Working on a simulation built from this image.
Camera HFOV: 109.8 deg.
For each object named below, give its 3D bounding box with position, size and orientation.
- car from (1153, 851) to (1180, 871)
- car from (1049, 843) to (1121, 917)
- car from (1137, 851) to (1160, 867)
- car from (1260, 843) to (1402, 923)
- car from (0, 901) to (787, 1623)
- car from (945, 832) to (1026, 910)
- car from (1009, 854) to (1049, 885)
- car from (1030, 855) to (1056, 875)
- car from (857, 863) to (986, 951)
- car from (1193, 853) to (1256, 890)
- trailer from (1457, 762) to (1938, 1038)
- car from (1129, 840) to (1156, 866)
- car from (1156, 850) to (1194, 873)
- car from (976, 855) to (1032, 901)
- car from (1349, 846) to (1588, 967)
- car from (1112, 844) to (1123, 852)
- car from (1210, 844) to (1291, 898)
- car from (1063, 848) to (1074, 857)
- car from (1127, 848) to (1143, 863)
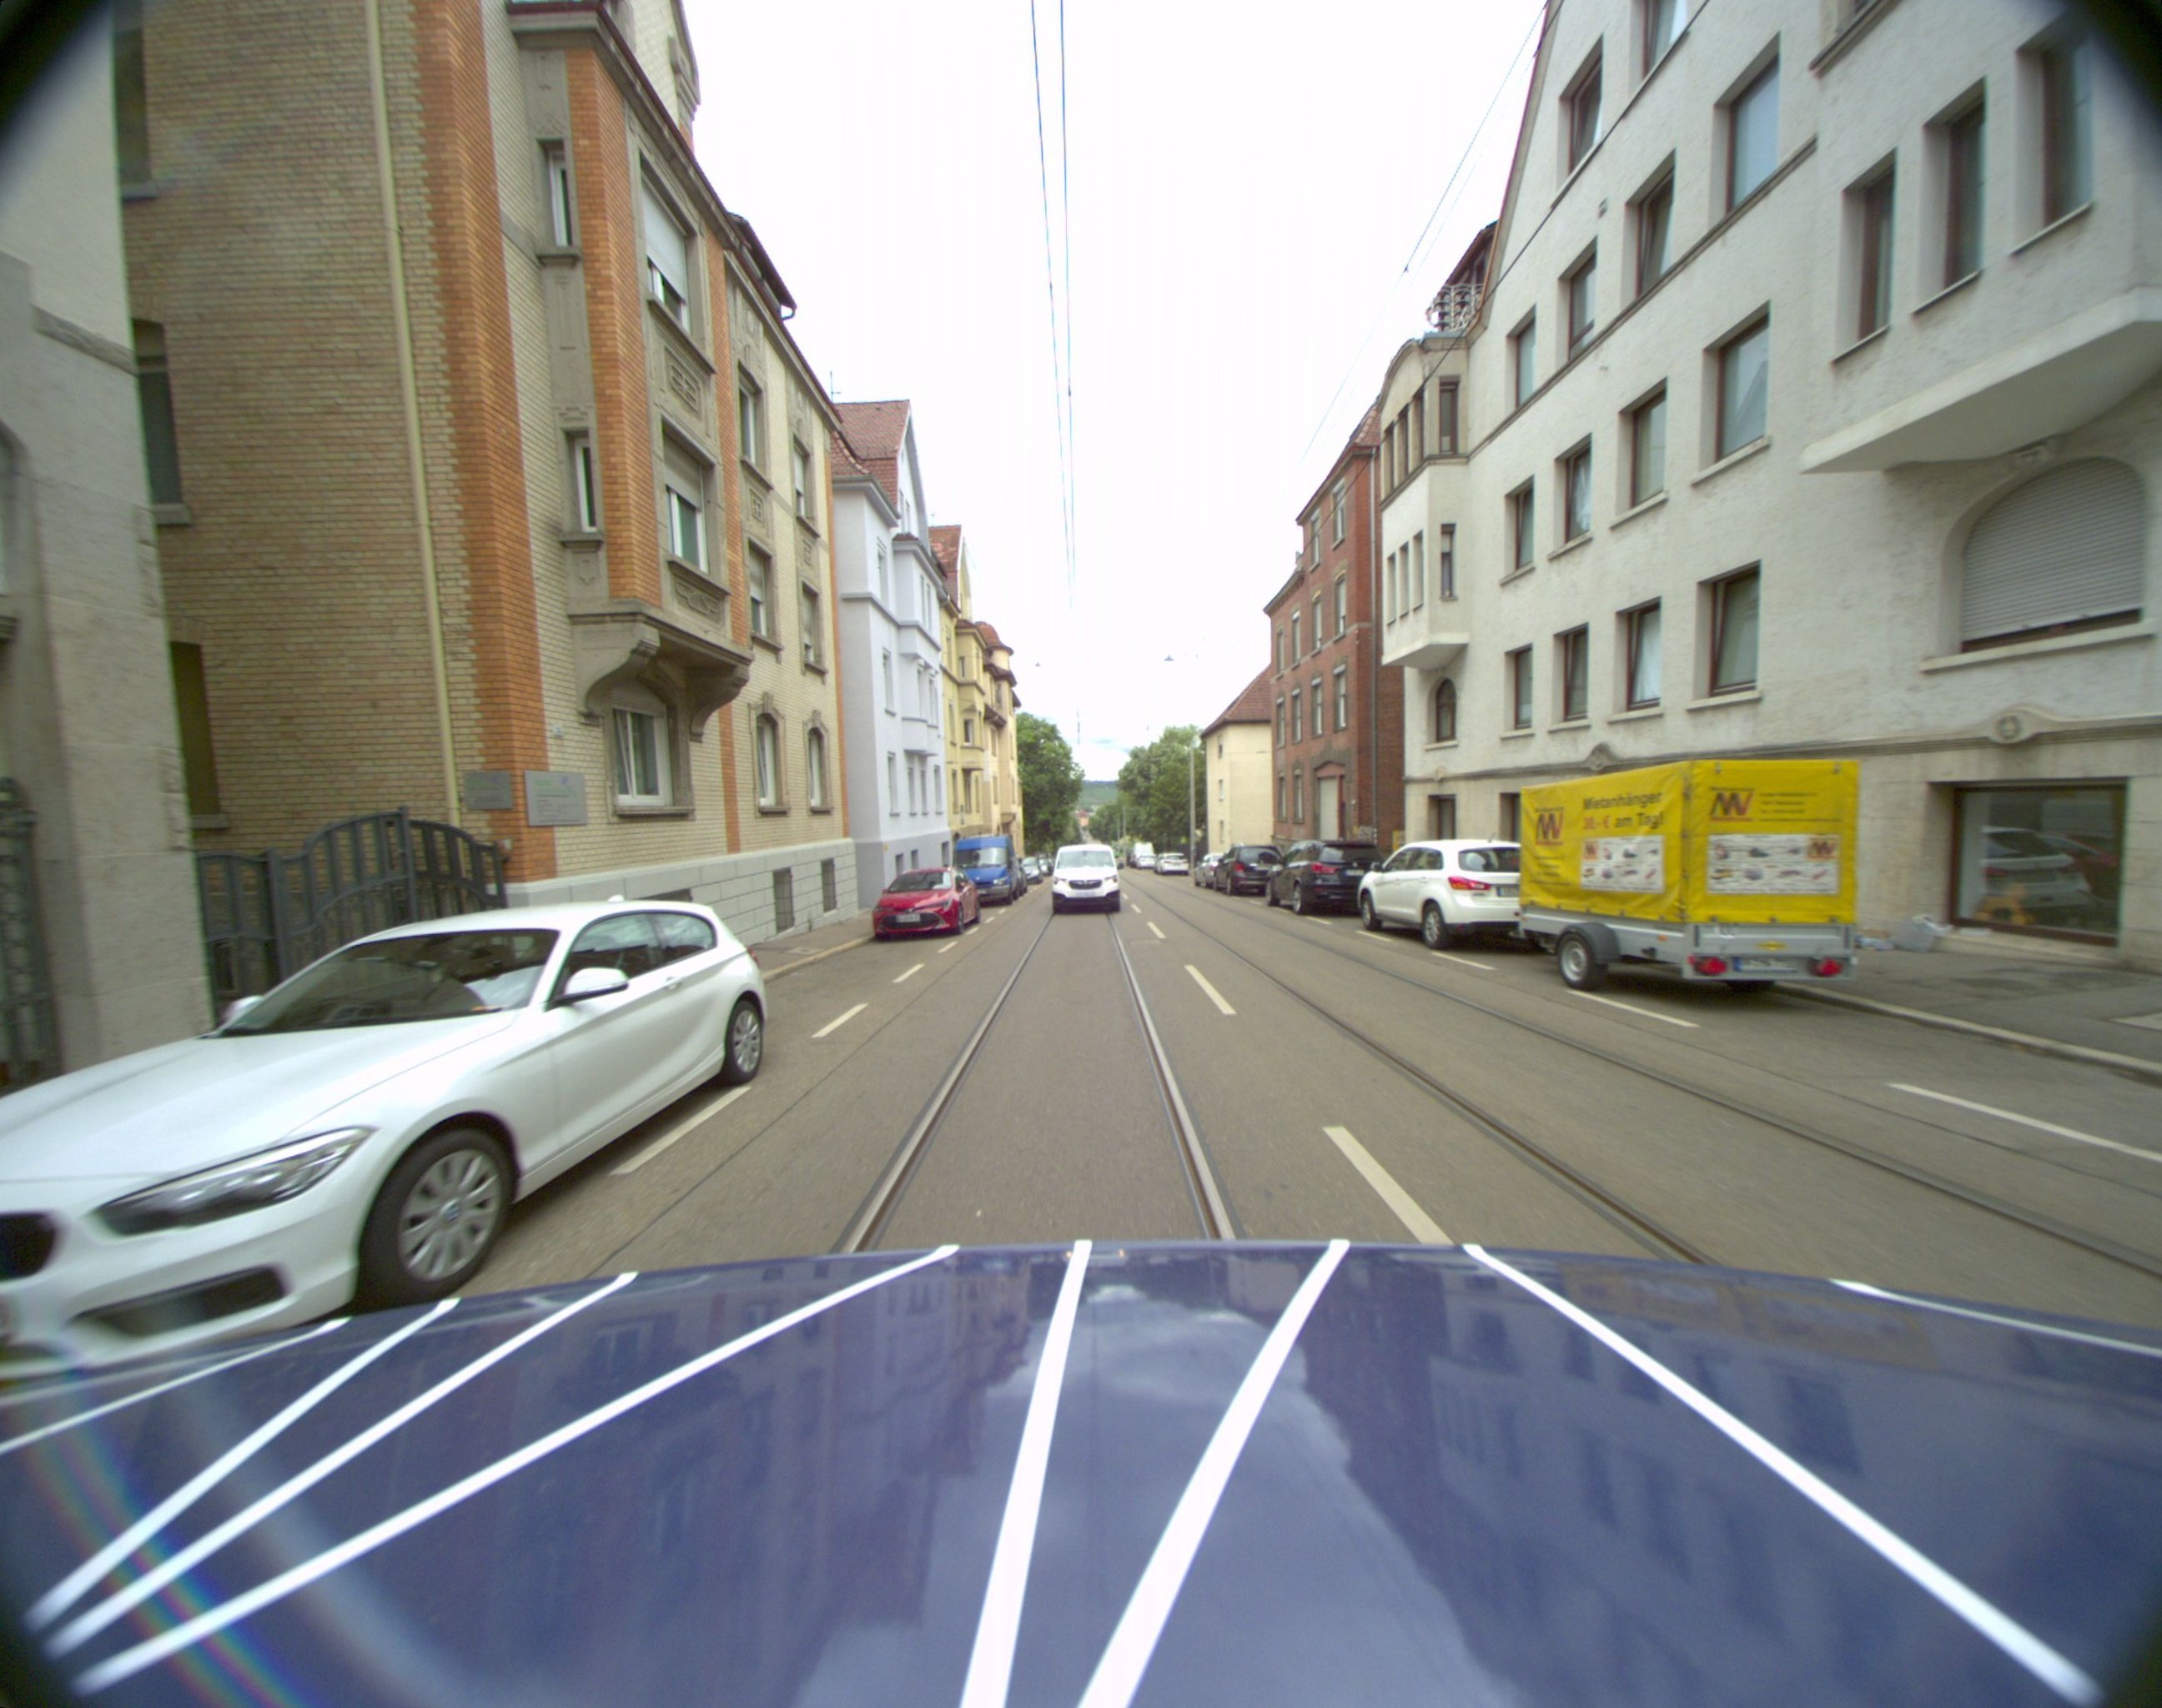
[{"bbox_3d":[6.277,0.506,56.010,1.604,1.360,3.807,2,0,2],"label":"car"},{"bbox_3d":[0.190,0.632,21.441,1.759,1.824,4.448,-2,1,2],"label":"car"},{"bbox_3d":[6.134,0.409,69.032,1.723,1.395,4.313,1,0,1],"label":"car"},{"bbox_3d":[5.791,0.598,18.285,1.878,1.654,4.891,0,0,1],"label":"car"},{"bbox_3d":[-3.268,1.153,3.928,1.754,1.382,4.307,-4,1,-1],"label":"car"},{"bbox_3d":[-3.173,0.490,26.346,1.998,2.363,5.055,-2,1,1],"label":"car"},{"bbox_3d":[-2.948,0.853,43.553,1.832,1.510,4.028,-4,0,1],"label":"car"},{"bbox_3d":[-2.935,0.834,58.968,1.699,1.396,3.667,-4,0,1],"label":"car"},{"bbox_3d":[-3.358,1.047,16.964,1.784,1.466,4.589,-4,1,0],"label":"car"},{"bbox_3d":[5.932,0.670,32.005,1.832,1.421,4.839,0,0,1],"label":"car"},{"bbox_3d":[5.783,0.350,7.934,1.753,2.143,4.071,0,0,1],"label":"trailer"},{"bbox_3d":[6.370,-0.122,79.132,2.164,2.591,6.218,1,0,-1],"label":"car"},{"bbox_3d":[6.303,0.487,51.242,1.832,1.420,4.626,2,0,-1],"label":"car"},{"bbox_3d":[-3.089,0.925,31.292,1.784,1.522,4.191,-5,1,0],"label":"car"},{"bbox_3d":[5.848,0.681,12.124,1.701,1.584,4.268,0,0,1],"label":"car"},{"bbox_3d":[7.398,-1.226,154.268,1.856,1.532,3.948,-2,0,1],"label":"car"},{"bbox_3d":[5.831,0.531,26.661,1.832,1.708,4.913,0,0,1],"label":"car"},{"bbox_3d":[-2.452,-0.315,147.273,1.863,1.434,4.388,-5,1,1],"label":"car"},{"bbox_3d":[6.561,0.153,93.441,1.766,1.765,4.668,1,1,2],"label":"car"}]
